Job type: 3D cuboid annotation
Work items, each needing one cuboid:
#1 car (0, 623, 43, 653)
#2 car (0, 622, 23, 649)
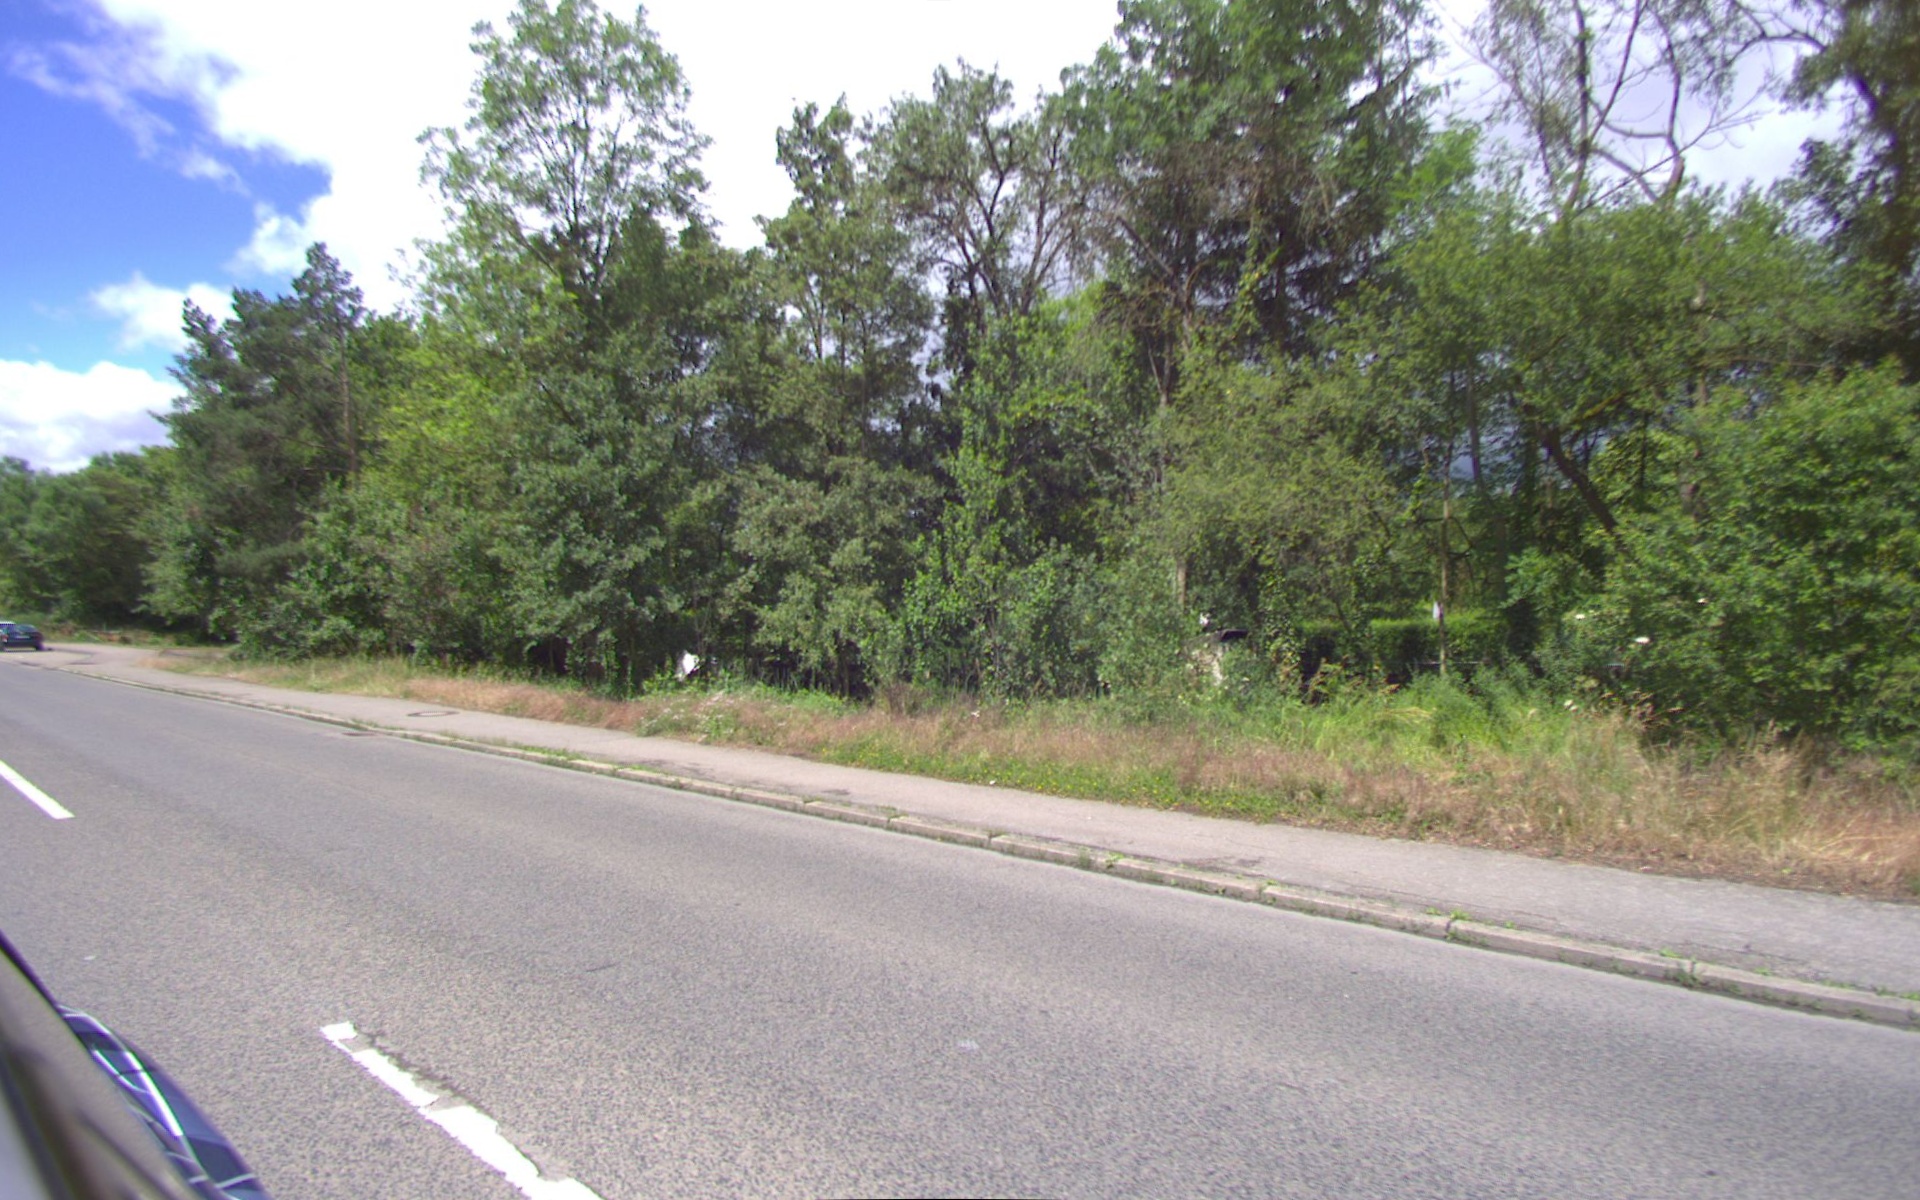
[{"bbox_3d":[-48.059,1.927,51.526,4.266,1.418,1.748,-1,0,44],"label":"car"},{"bbox_3d":[-53.685,1.963,56.272,4.242,1.481,1.750,-1,0,40],"label":"car"}]
